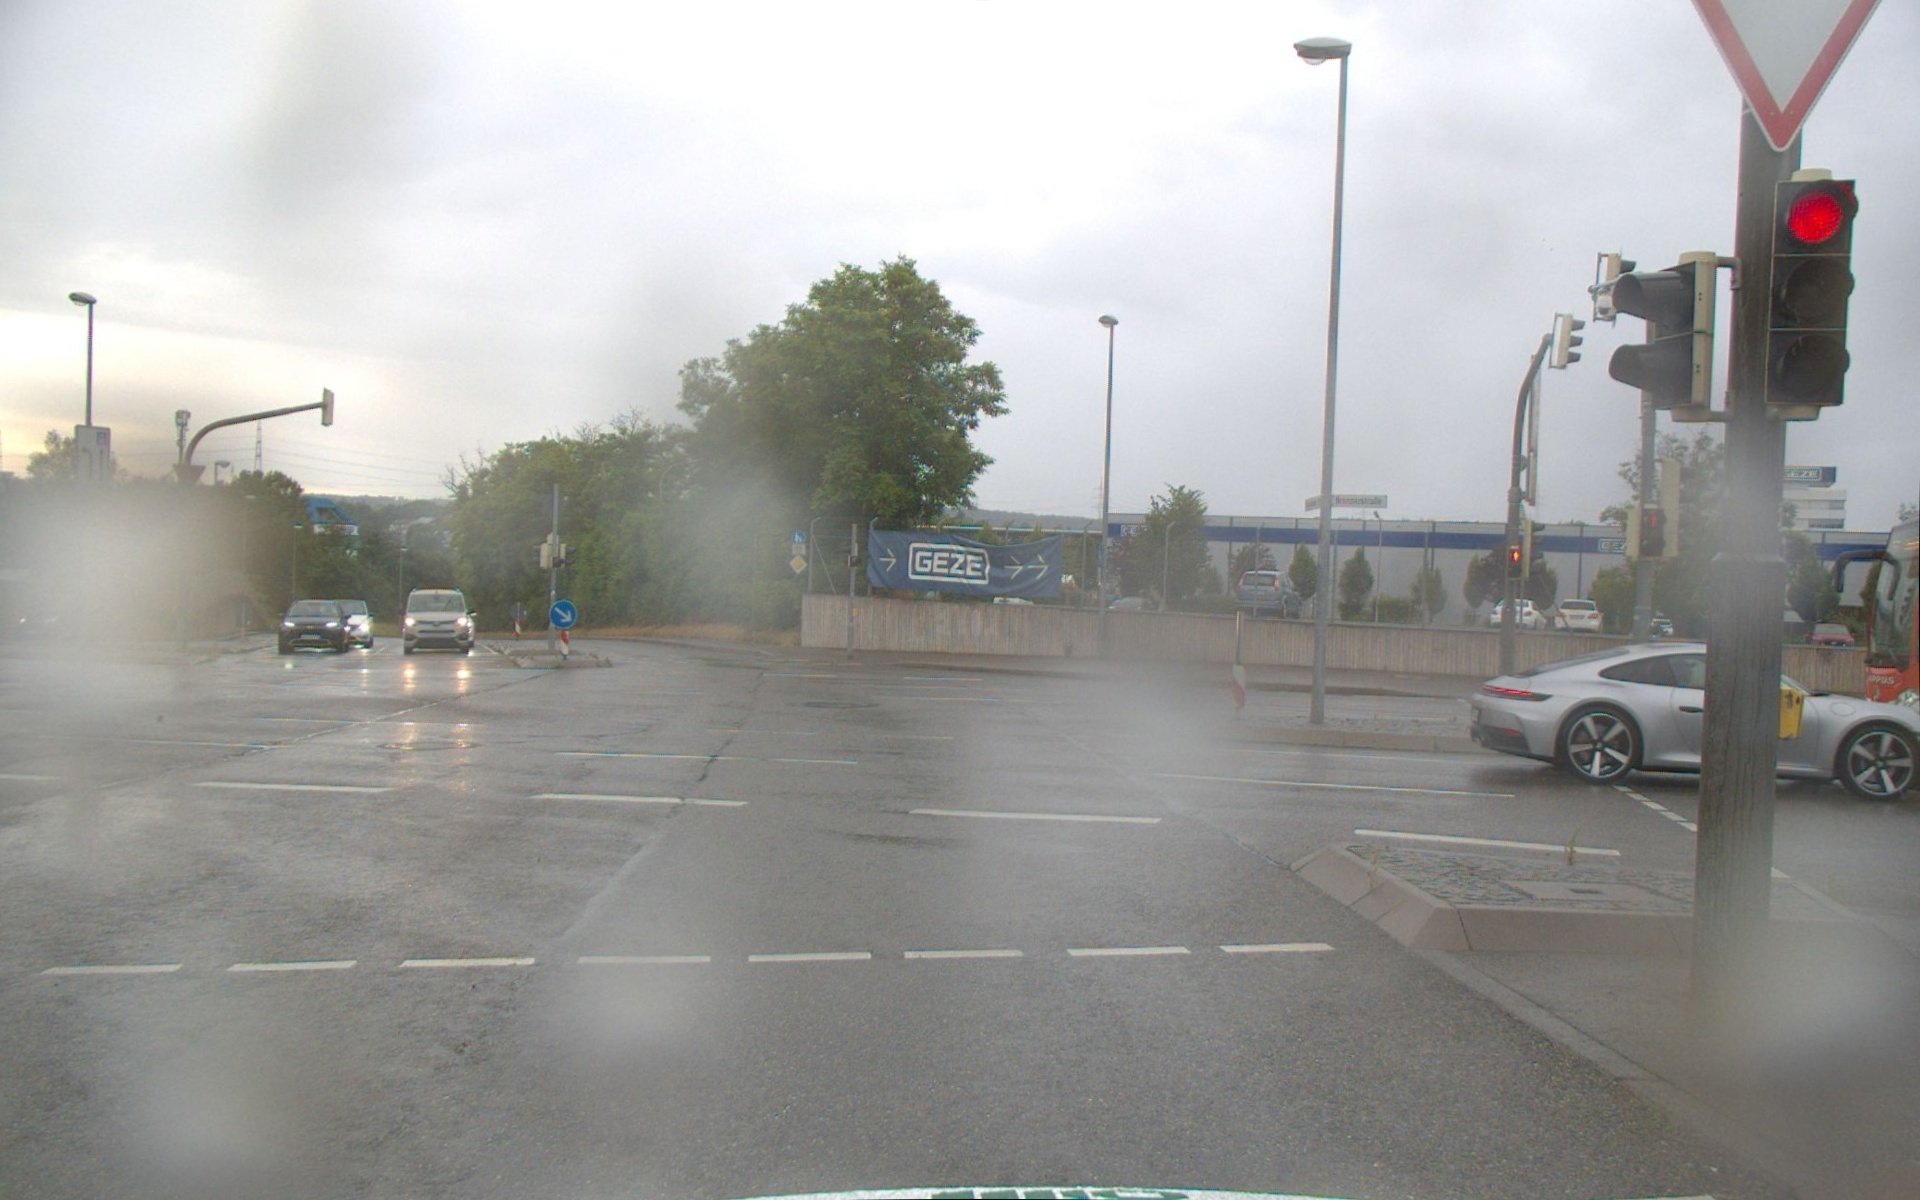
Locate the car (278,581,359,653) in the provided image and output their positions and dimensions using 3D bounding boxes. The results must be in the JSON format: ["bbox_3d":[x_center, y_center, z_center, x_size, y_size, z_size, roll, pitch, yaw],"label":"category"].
[{"bbox_3d":[-18.563,0.457,47.996,1.963,1.928,3.979,1,0,-19],"label":"car"}]

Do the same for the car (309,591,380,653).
[{"bbox_3d":[-20.423,0.701,55.012,1.962,1.928,3.981,1,0,-18],"label":"car"}]

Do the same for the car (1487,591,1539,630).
[{"bbox_3d":[22.961,0.433,68.643,1.952,1.504,4.001,2,0,19],"label":"car"}]

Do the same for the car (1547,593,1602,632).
[{"bbox_3d":[25.257,0.503,68.055,1.952,1.504,4.001,2,0,19],"label":"car"}]

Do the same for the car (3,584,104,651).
[{"bbox_3d":[-28.049,0.518,51.290,1.962,1.928,3.981,1,0,-18],"label":"car"}]

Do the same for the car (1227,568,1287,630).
[{"bbox_3d":[10.396,-0.033,57.838,1.951,2.049,4.003,1,0,11],"label":"car"}]

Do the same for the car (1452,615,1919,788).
[{"bbox_3d":[7.079,0.919,15.876,4.337,1.382,1.858,2,0,12],"label":"car"}]

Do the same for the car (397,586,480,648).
[{"bbox_3d":[-14.880,0.455,47.369,1.960,1.646,3.986,1,0,-14],"label":"car"}]

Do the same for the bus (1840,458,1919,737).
[{"bbox_3d":[17.636,0.234,19.813,12.020,3.379,3.076,3,1,17],"label":"bus"}]
